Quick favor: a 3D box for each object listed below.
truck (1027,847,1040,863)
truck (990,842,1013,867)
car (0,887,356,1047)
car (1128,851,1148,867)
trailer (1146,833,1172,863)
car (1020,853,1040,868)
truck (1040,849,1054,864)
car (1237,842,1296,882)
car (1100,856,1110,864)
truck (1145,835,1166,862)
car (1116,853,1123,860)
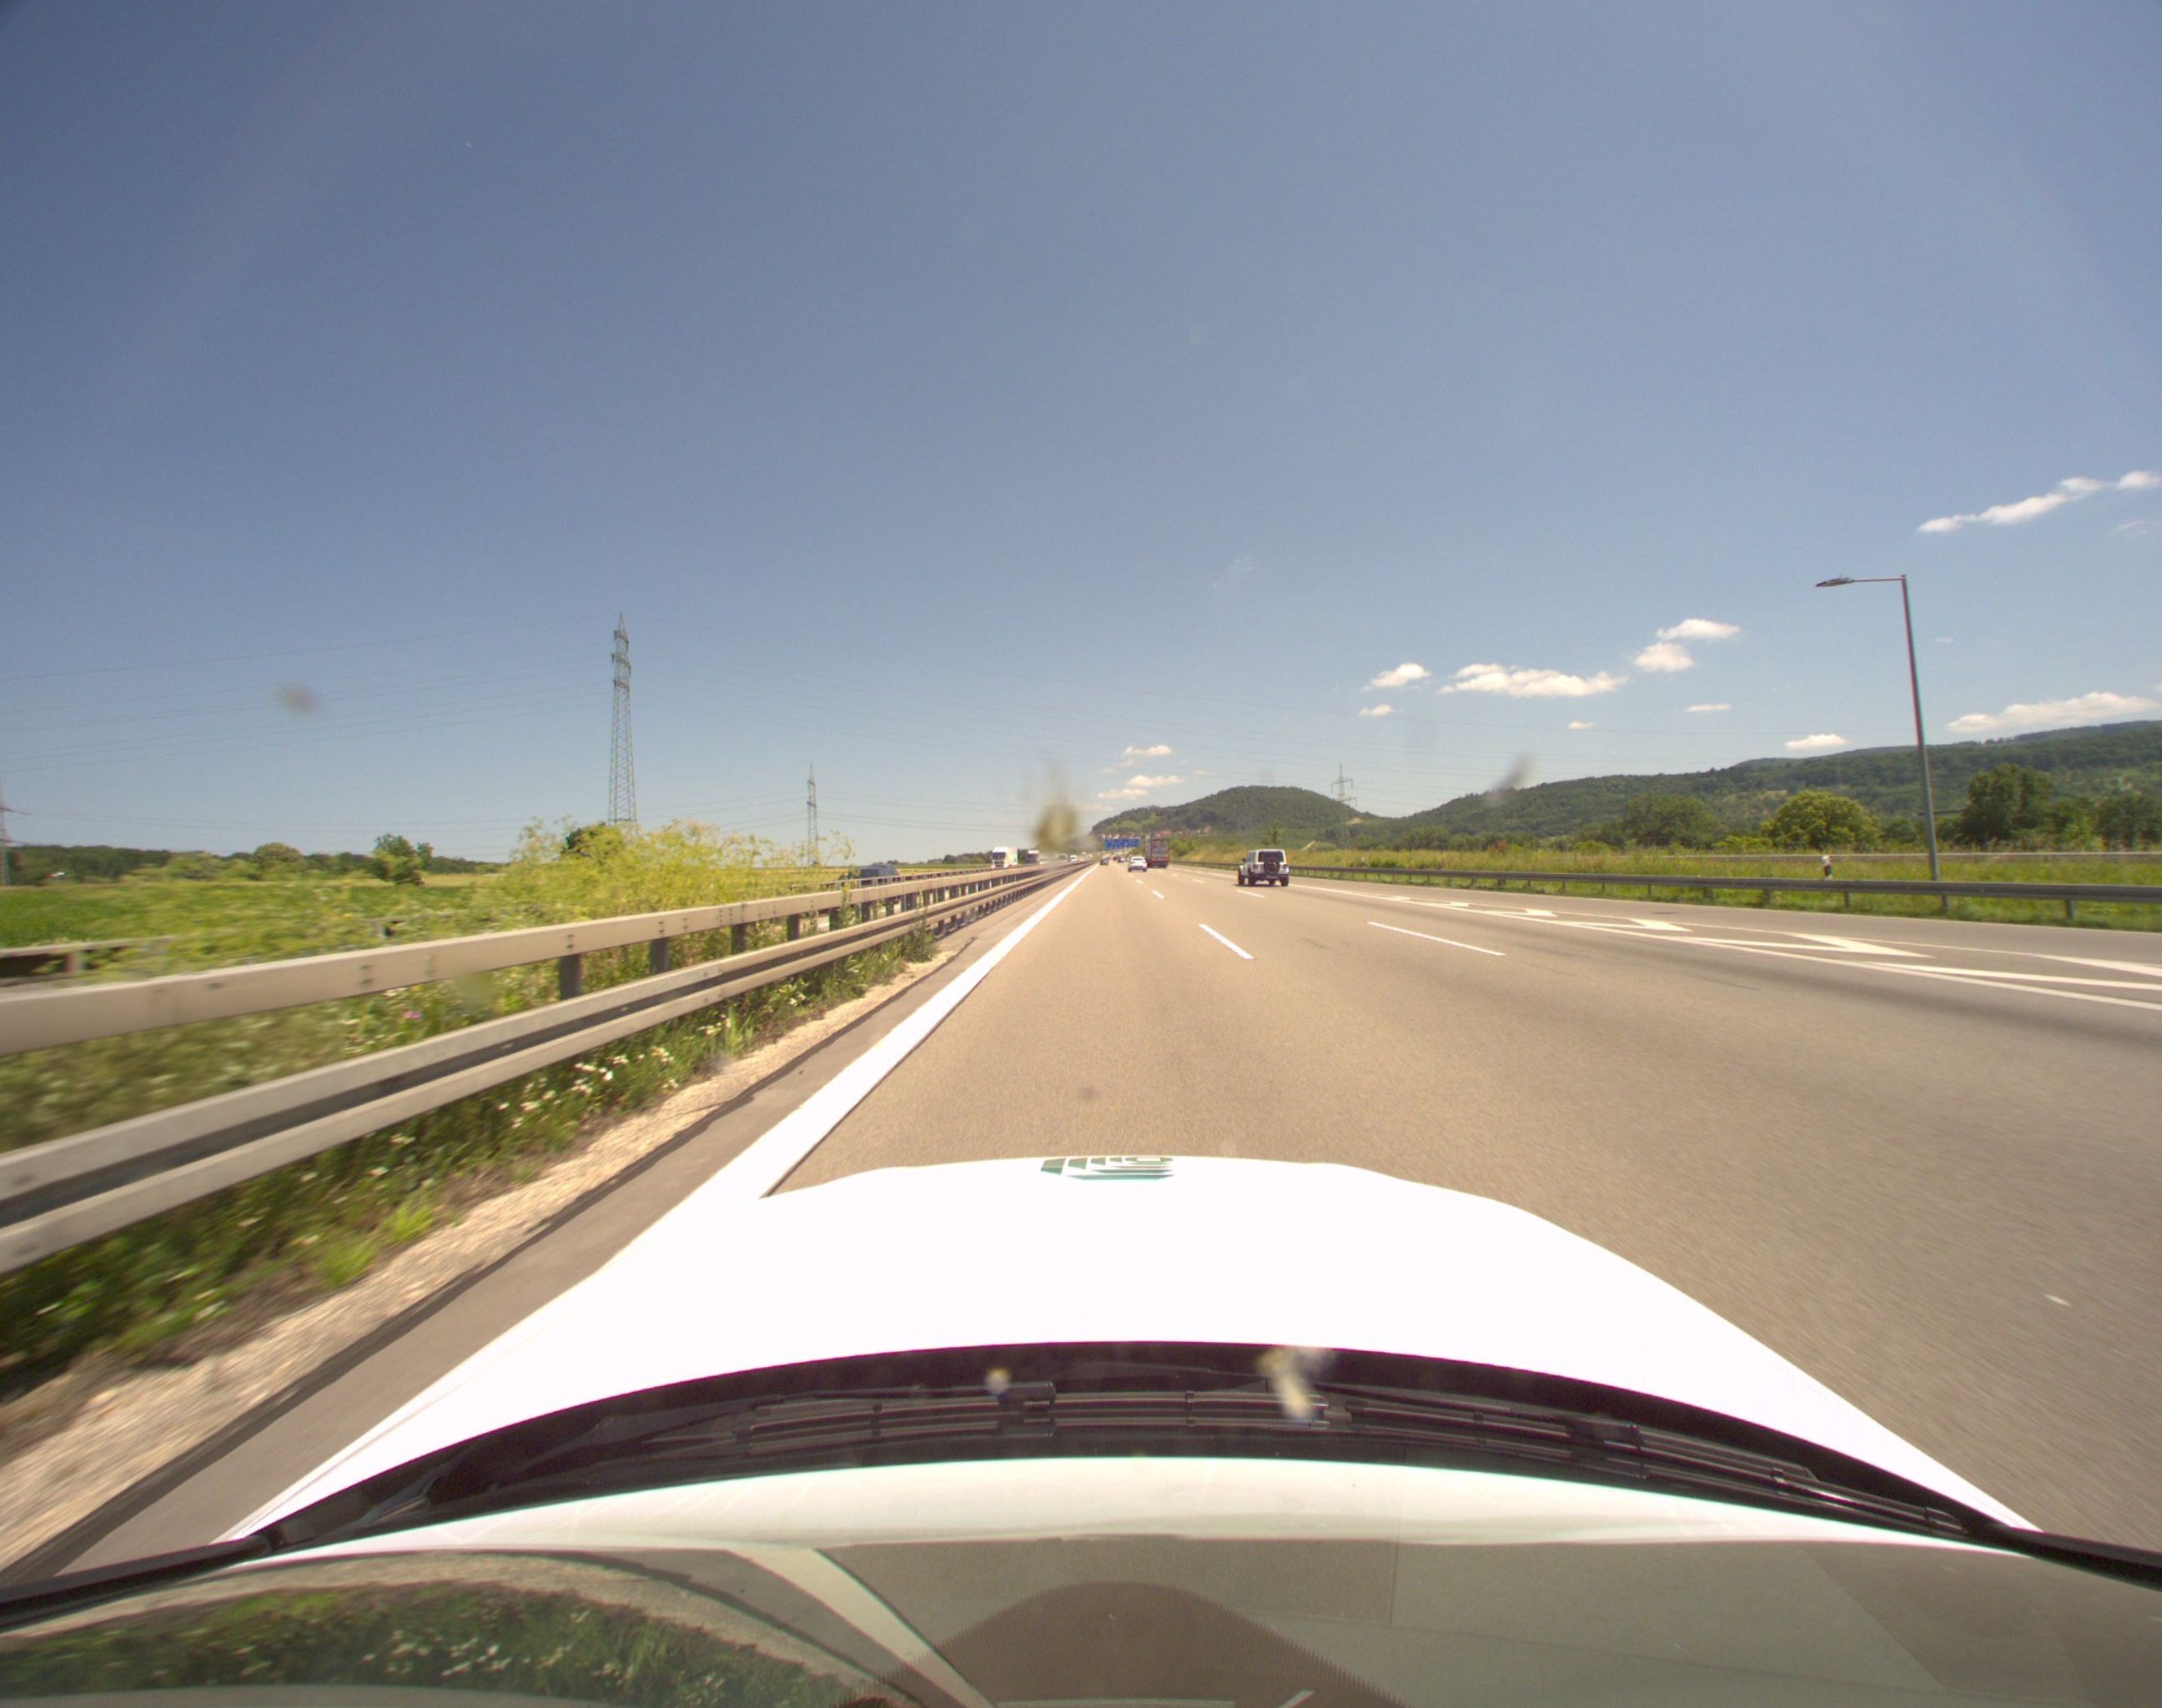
[{"bbox_3d":[-11.207,0.323,192.353,2.710,3.690,6.052,0,0,-1],"label":"truck"},{"bbox_3d":[-12.891,0.147,132.641,2.929,3.930,6.478,0,0,1],"label":"truck"},{"bbox_3d":[-11.692,1.256,10.015,1.813,1.444,4.002,-3,0,2],"label":"car"},{"bbox_3d":[6.157,0.532,88.008,1.907,1.581,5.232,0,0,1],"label":"car"},{"bbox_3d":[11.283,-0.757,118.604,2.716,4.155,11.809,0,0,1],"label":"trailer"},{"bbox_3d":[-6.115,0.774,98.169,1.803,1.640,4.430,-3,0,2],"label":"car"},{"bbox_3d":[-7.197,0.617,173.410,2.241,3.009,7.431,-3,0,2],"label":"truck"},{"bbox_3d":[9.442,0.381,41.813,2.027,1.804,4.251,-3,0,1],"label":"car"},{"bbox_3d":[4.734,1.178,161.925,1.986,1.389,4.002,0,0,2],"label":"car"},{"bbox_3d":[11.432,-0.771,125.029,2.742,4.020,6.790,0,0,1],"label":"truck"},{"bbox_3d":[11.060,0.729,231.865,1.986,2.014,4.002,0,0,2],"label":"car"}]
